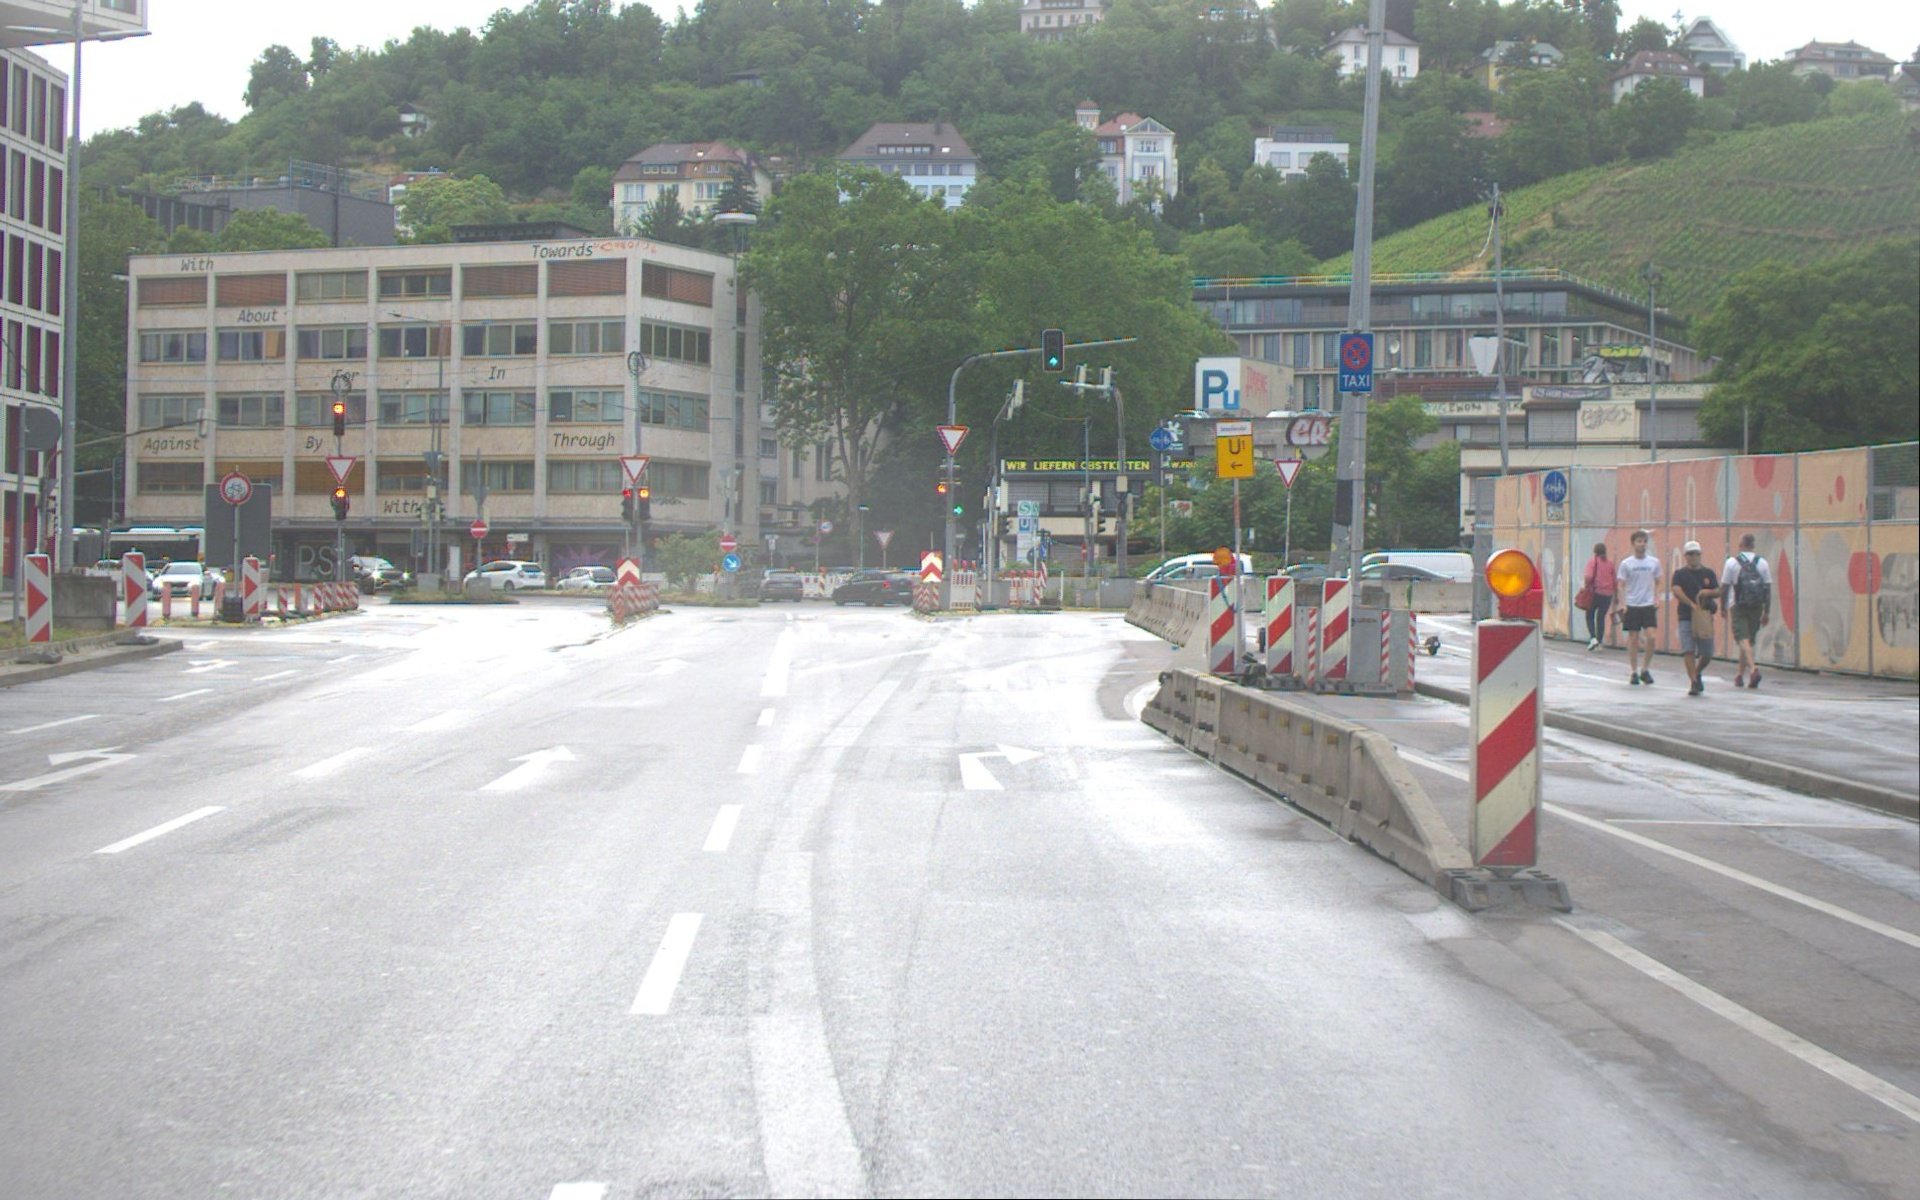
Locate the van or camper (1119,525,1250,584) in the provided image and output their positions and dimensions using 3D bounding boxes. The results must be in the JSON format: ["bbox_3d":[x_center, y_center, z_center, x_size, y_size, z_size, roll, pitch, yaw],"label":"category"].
[{"bbox_3d":[7.654,-1.559,117.480,4.241,1.972,1.851,1,1,-3],"label":"van or camper"}]

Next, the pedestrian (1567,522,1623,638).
[{"bbox_3d":[10.335,-0.329,55.997,0.719,1.860,0.709,1,1,-3],"label":"pedestrian"}]

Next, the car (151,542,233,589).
[{"bbox_3d":[-29.151,-1.315,130.699,2.222,1.747,4.813,0,0,-2],"label":"car"}]

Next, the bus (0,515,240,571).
[{"bbox_3d":[-44.121,-2.988,179.883,13.953,2.741,3.206,1,1,29],"label":"bus"}]

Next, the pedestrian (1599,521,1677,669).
[{"bbox_3d":[8.060,-0.062,40.885,0.683,1.734,0.907,1,1,-3],"label":"pedestrian"}]

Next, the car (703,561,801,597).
[{"bbox_3d":[-8.901,-0.893,147.065,4.073,1.487,1.732,1,1,38],"label":"car"}]

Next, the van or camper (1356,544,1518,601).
[{"bbox_3d":[16.297,-0.950,117.589,5.195,1.887,1.888,1,1,-3],"label":"van or camper"}]

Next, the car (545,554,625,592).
[{"bbox_3d":[-17.188,-1.245,157.350,1.794,1.685,4.001,0,1,-38],"label":"car"}]

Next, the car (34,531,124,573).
[{"bbox_3d":[-39.172,-2.123,152.748,3.996,1.809,1.802,2,1,38],"label":"car"}]

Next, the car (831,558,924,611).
[{"bbox_3d":[-3.272,-0.608,135.761,1.993,2.007,4.000,0,1,-29],"label":"car"}]

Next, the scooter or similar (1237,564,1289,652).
[{"bbox_3d":[4.315,0.106,49.043,0.675,1.210,1.571,1,1,4],"label":"scooter or similar"}]

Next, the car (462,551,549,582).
[{"bbox_3d":[-22.062,-1.629,166.867,4.073,1.487,1.732,1,1,35],"label":"car"}]

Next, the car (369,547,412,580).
[{"bbox_3d":[-25.650,-1.651,154.743,1.830,1.481,4.001,1,1,-10],"label":"car"}]

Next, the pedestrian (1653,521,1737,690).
[{"bbox_3d":[7.678,0.049,35.959,0.642,1.734,0.838,1,1,-2],"label":"pedestrian"}]

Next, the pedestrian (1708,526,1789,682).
[{"bbox_3d":[9.525,0.040,41.563,0.703,1.860,0.990,1,1,-1],"label":"pedestrian"}]
